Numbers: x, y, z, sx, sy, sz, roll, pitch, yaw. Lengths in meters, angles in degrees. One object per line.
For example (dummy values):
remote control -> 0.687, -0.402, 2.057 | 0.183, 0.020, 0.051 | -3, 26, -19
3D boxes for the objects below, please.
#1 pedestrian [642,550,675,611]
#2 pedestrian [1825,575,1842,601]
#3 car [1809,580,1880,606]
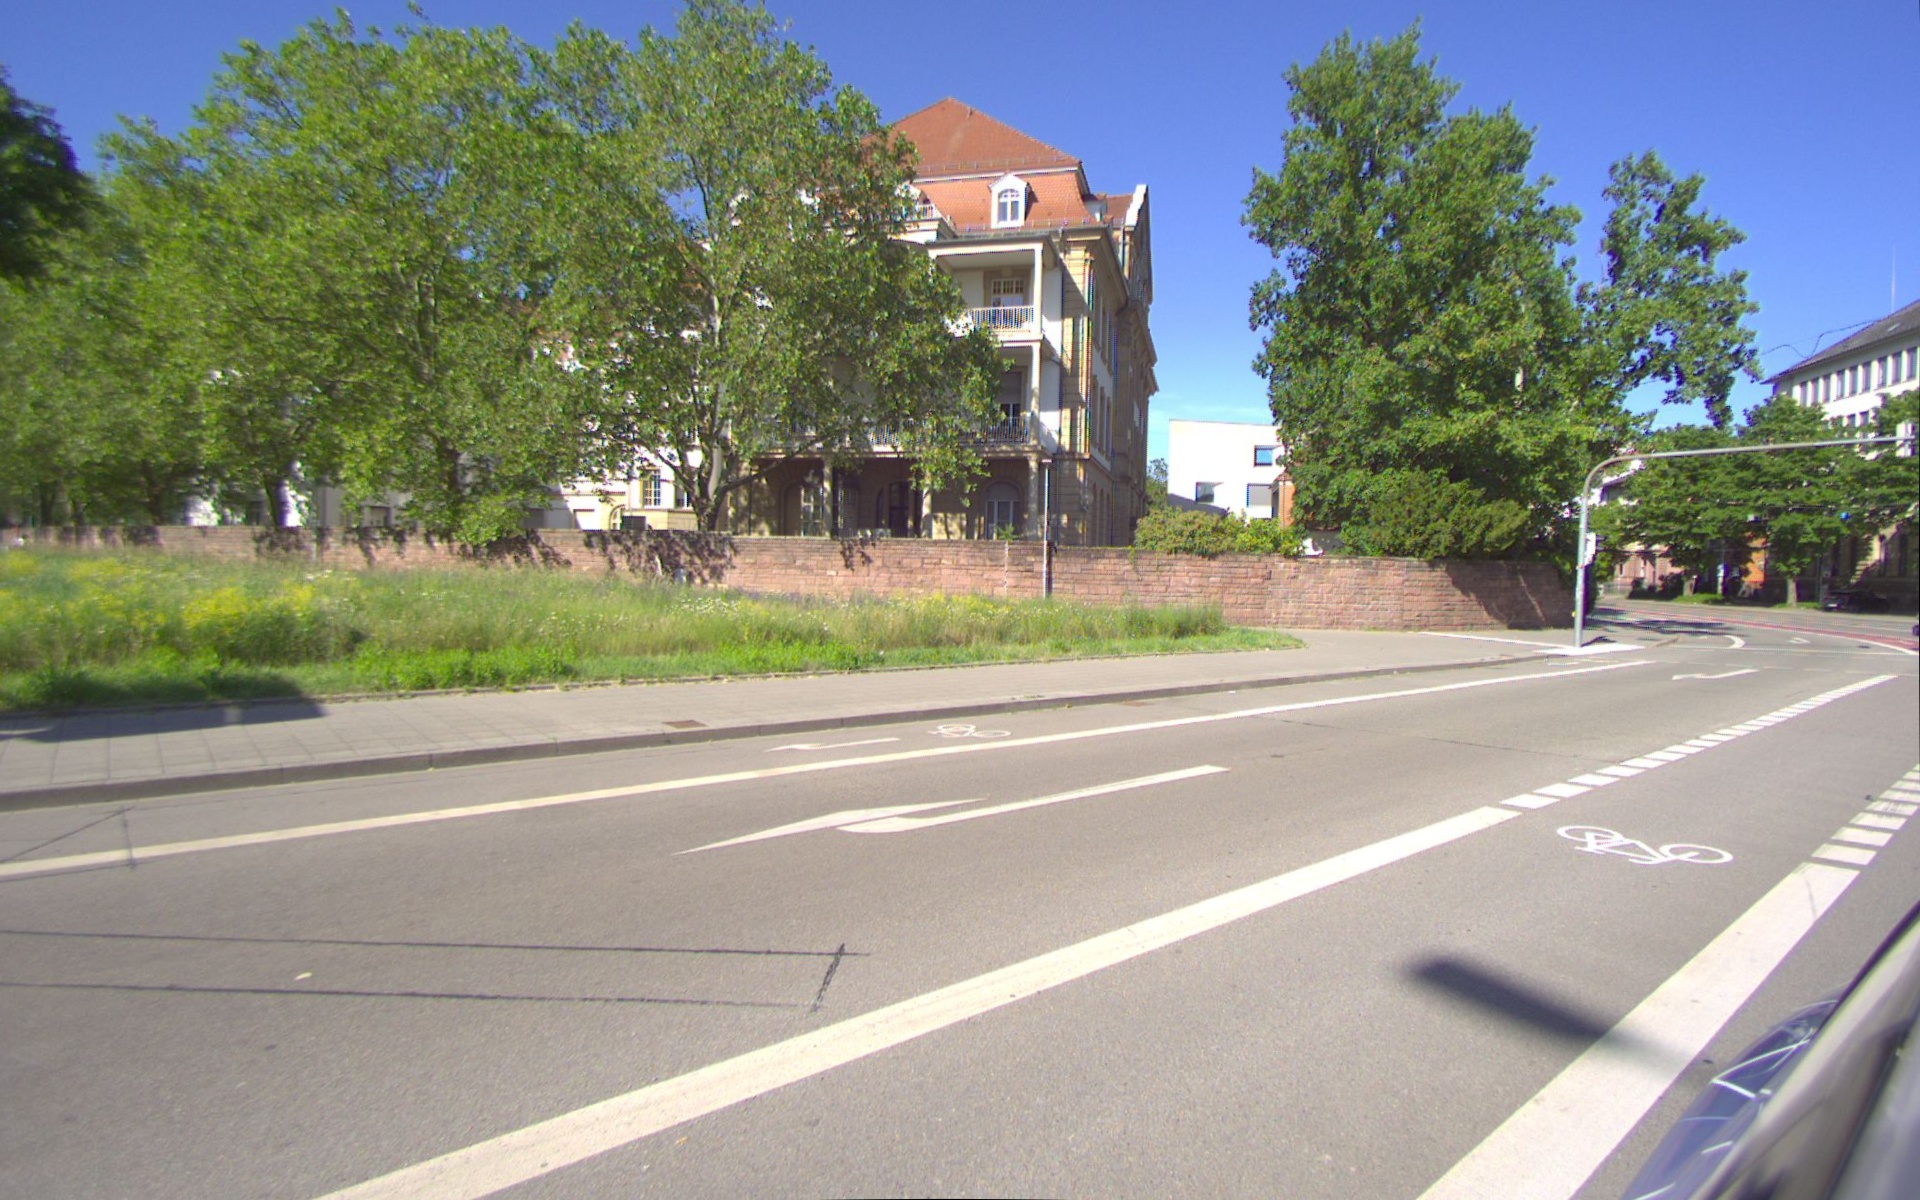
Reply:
pedestrian -> -9.509, -0.619, 31.955 | 0.777, 1.881, 0.627 | 2, 1, 18
pedestrian -> 64.641, -0.911, 74.873 | 0.568, 1.927, 0.781 | 1, 1, 12
car -> 60.406, -0.521, 69.201 | 1.806, 1.615, 3.988 | 2, 2, 11
